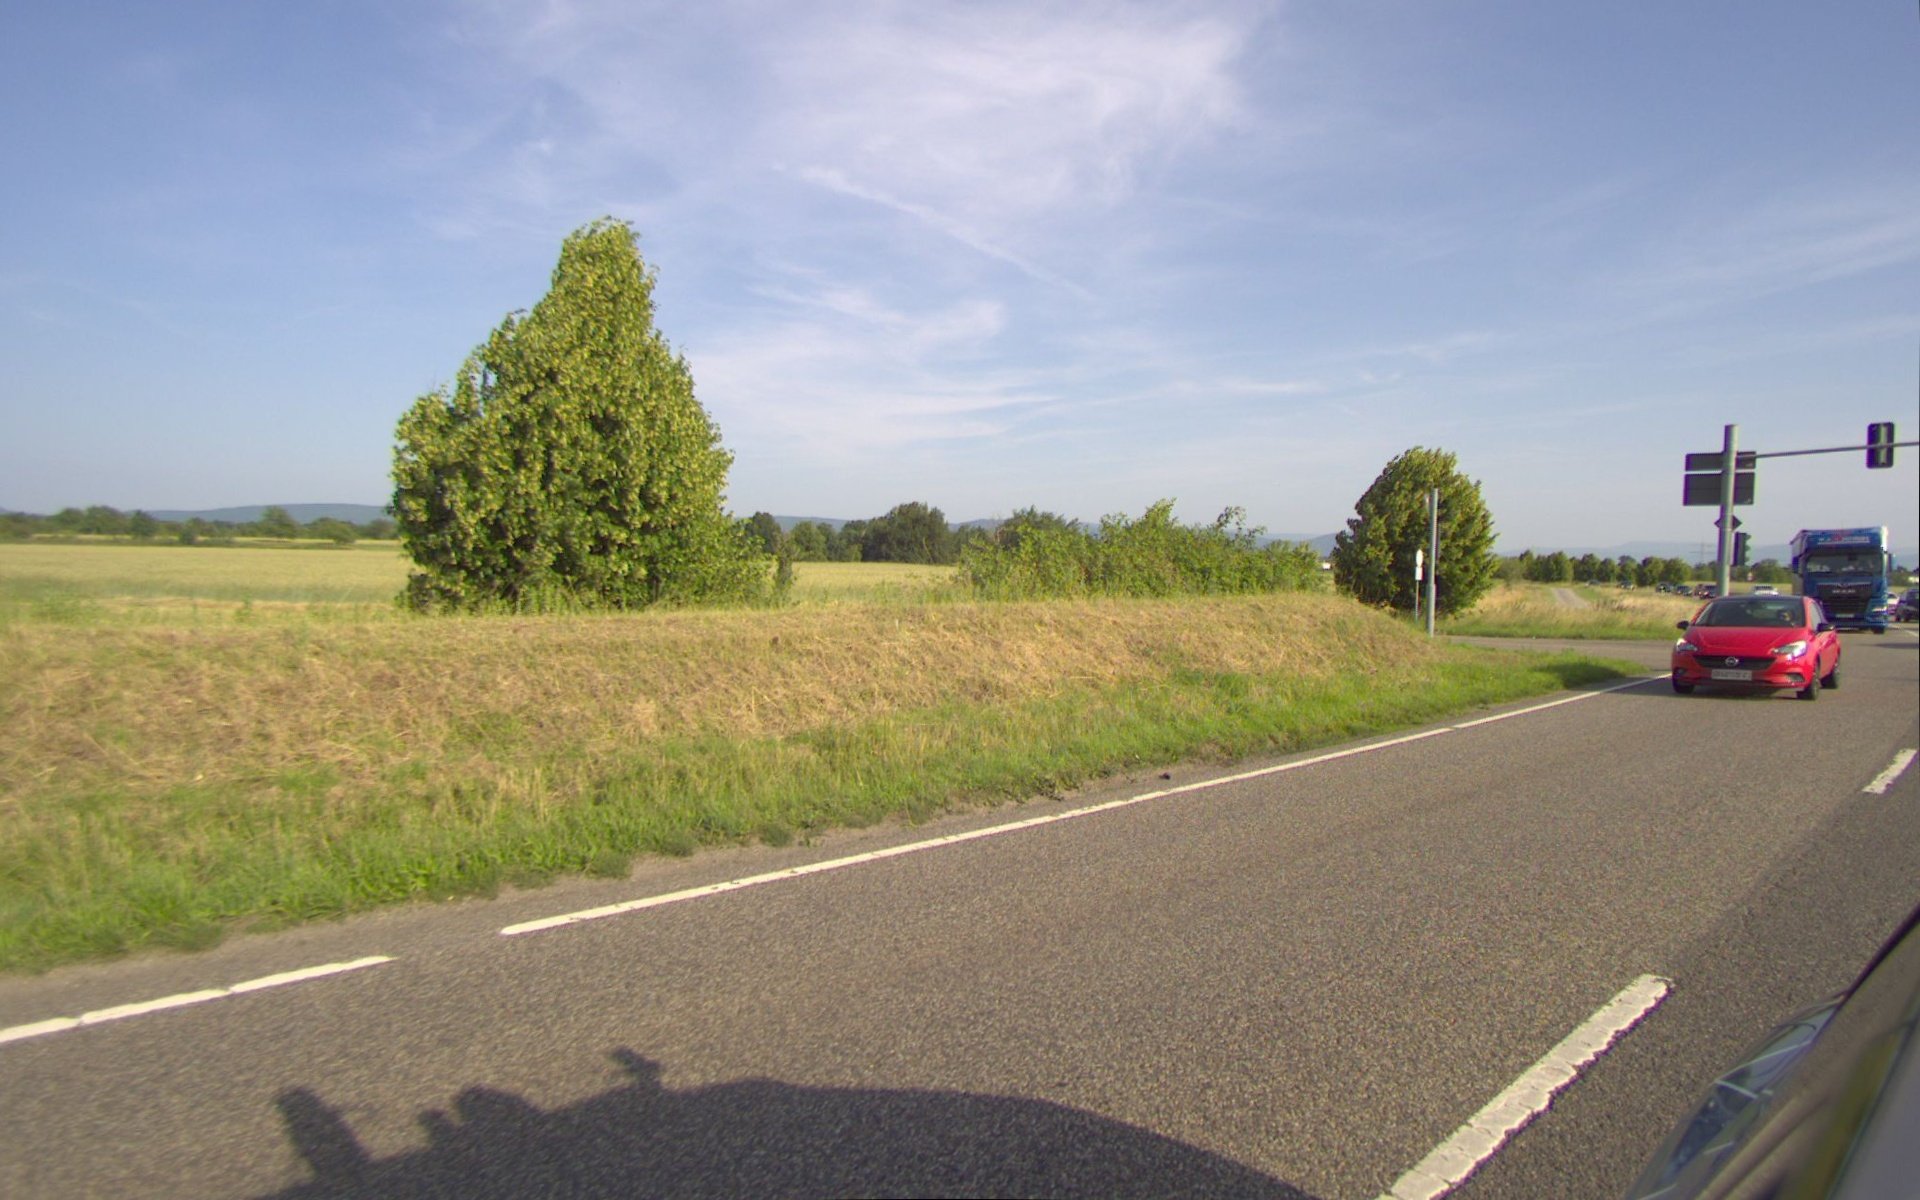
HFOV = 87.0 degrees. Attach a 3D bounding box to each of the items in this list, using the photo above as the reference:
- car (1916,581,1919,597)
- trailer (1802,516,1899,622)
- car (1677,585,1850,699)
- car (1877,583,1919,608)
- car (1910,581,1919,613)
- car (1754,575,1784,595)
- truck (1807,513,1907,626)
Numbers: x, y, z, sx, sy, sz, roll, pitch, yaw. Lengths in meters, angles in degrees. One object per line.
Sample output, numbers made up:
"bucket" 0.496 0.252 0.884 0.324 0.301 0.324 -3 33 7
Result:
"car" 86.073 -0.963 89.121 1.920 1.452 4.645 1 2 33
"trailer" 38.963 -1.285 44.626 2.640 4.028 13.734 0 1 39
"car" 12.272 0.533 15.371 1.662 1.482 3.891 1 1 45
"car" 55.071 -0.292 59.228 1.686 1.432 3.946 1 2 37
"car" 47.269 -0.142 48.707 1.823 1.549 3.945 1 2 38
"car" 79.349 -1.456 99.290 1.987 1.905 3.951 1 1 34
"truck" 34.332 -1.132 38.905 2.640 3.969 5.866 0 1 39
